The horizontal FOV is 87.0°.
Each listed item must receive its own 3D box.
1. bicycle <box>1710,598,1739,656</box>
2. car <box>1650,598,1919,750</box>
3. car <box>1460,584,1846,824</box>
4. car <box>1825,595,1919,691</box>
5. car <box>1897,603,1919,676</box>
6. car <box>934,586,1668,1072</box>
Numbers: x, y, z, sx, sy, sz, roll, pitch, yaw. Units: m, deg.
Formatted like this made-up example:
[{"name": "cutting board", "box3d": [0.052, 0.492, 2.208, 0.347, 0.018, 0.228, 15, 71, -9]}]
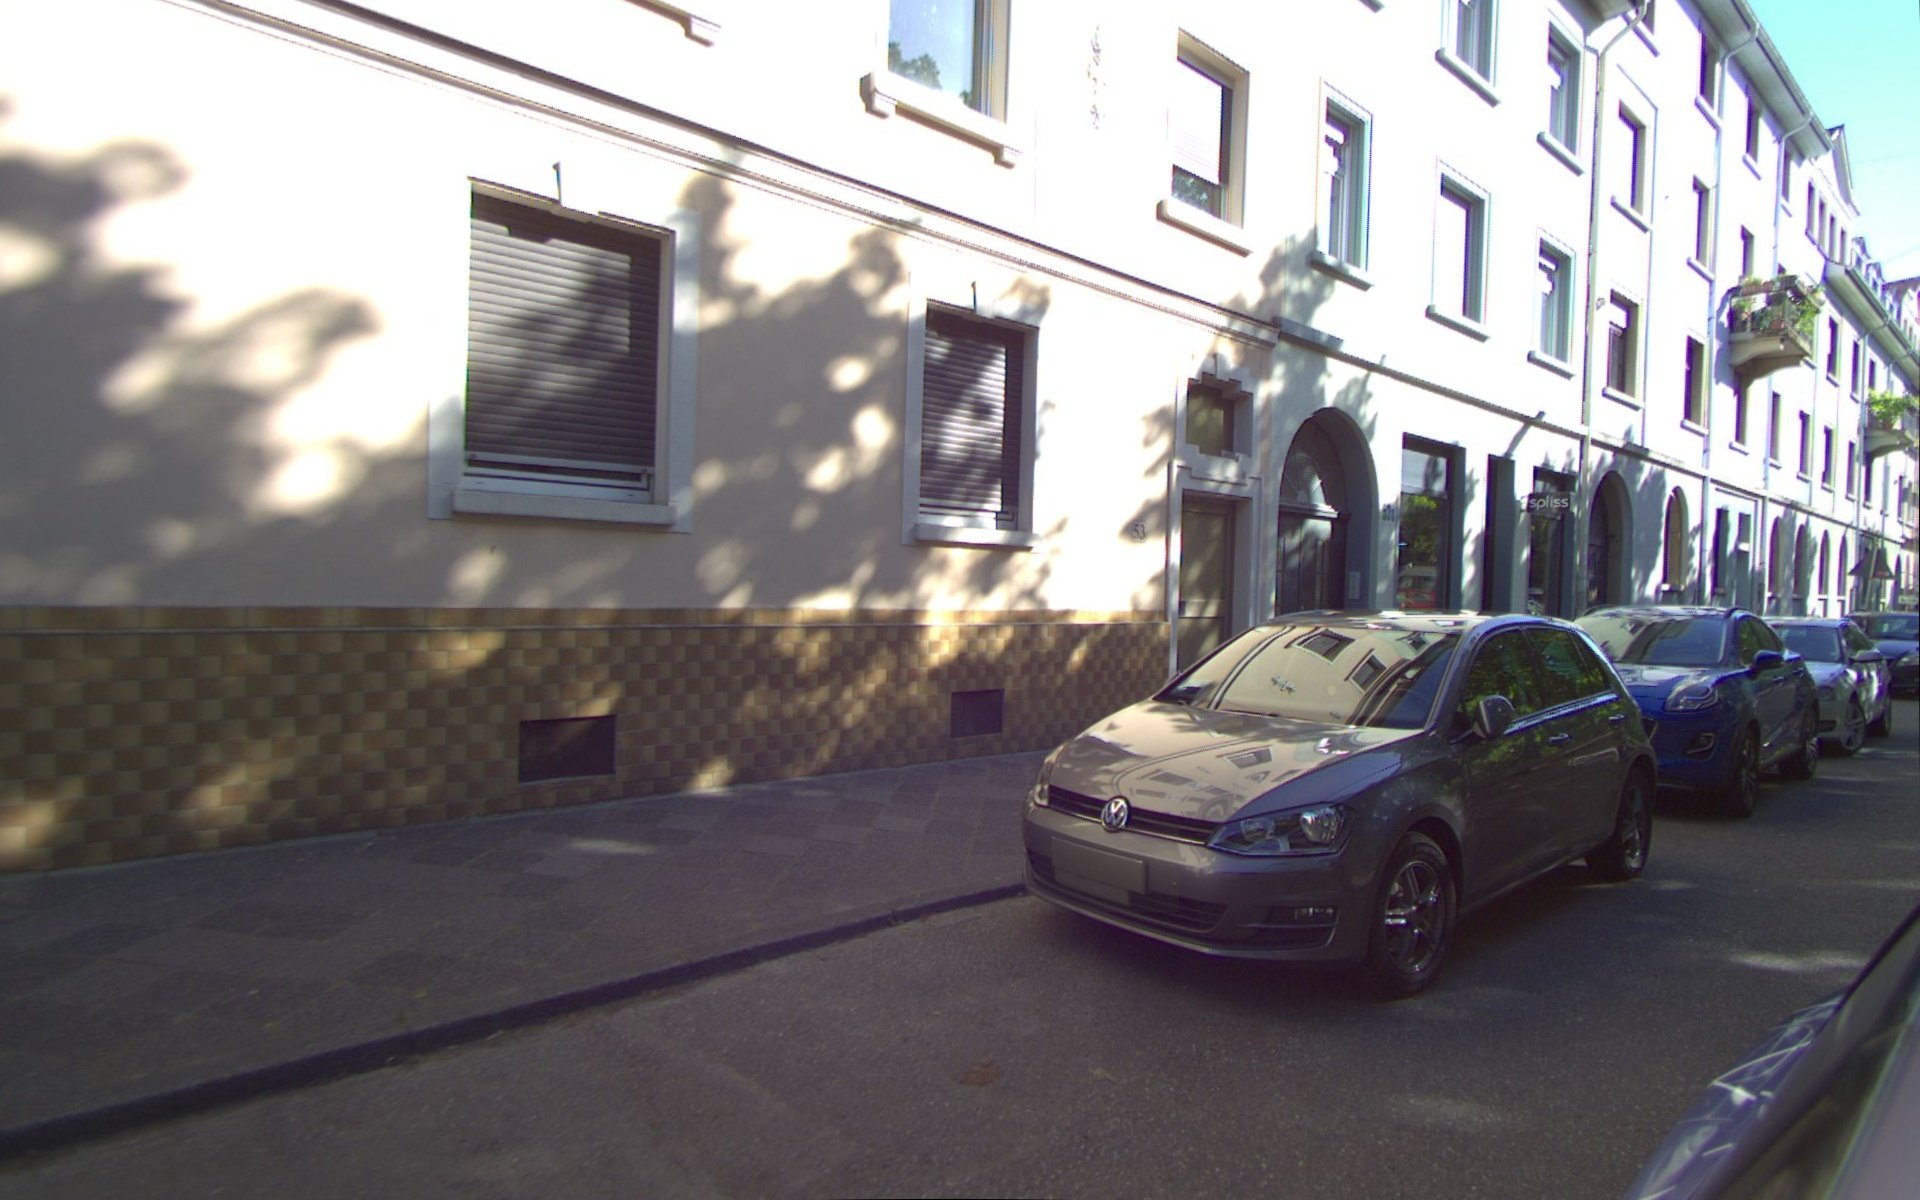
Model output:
[{"name": "bicycle", "box3d": [16.457, 0.566, 21.773, 0.406, 1.201, 1.821, 1, 0, 40]}, {"name": "car", "box3d": [9.796, 0.728, 11.856, 4.215, 1.449, 1.773, 1, 0, -40]}, {"name": "car", "box3d": [6.059, 0.696, 8.662, 4.110, 1.571, 1.770, 1, -1, -41]}, {"name": "car", "box3d": [17.185, 0.733, 18.369, 3.969, 1.570, 1.584, 1, 0, -39]}, {"name": "car", "box3d": [21.675, 0.861, 21.917, 3.897, 1.511, 1.602, 1, 2, -41]}, {"name": "car", "box3d": [1.926, 0.706, 5.032, 3.934, 1.486, 1.695, 1, 0, -40]}]
